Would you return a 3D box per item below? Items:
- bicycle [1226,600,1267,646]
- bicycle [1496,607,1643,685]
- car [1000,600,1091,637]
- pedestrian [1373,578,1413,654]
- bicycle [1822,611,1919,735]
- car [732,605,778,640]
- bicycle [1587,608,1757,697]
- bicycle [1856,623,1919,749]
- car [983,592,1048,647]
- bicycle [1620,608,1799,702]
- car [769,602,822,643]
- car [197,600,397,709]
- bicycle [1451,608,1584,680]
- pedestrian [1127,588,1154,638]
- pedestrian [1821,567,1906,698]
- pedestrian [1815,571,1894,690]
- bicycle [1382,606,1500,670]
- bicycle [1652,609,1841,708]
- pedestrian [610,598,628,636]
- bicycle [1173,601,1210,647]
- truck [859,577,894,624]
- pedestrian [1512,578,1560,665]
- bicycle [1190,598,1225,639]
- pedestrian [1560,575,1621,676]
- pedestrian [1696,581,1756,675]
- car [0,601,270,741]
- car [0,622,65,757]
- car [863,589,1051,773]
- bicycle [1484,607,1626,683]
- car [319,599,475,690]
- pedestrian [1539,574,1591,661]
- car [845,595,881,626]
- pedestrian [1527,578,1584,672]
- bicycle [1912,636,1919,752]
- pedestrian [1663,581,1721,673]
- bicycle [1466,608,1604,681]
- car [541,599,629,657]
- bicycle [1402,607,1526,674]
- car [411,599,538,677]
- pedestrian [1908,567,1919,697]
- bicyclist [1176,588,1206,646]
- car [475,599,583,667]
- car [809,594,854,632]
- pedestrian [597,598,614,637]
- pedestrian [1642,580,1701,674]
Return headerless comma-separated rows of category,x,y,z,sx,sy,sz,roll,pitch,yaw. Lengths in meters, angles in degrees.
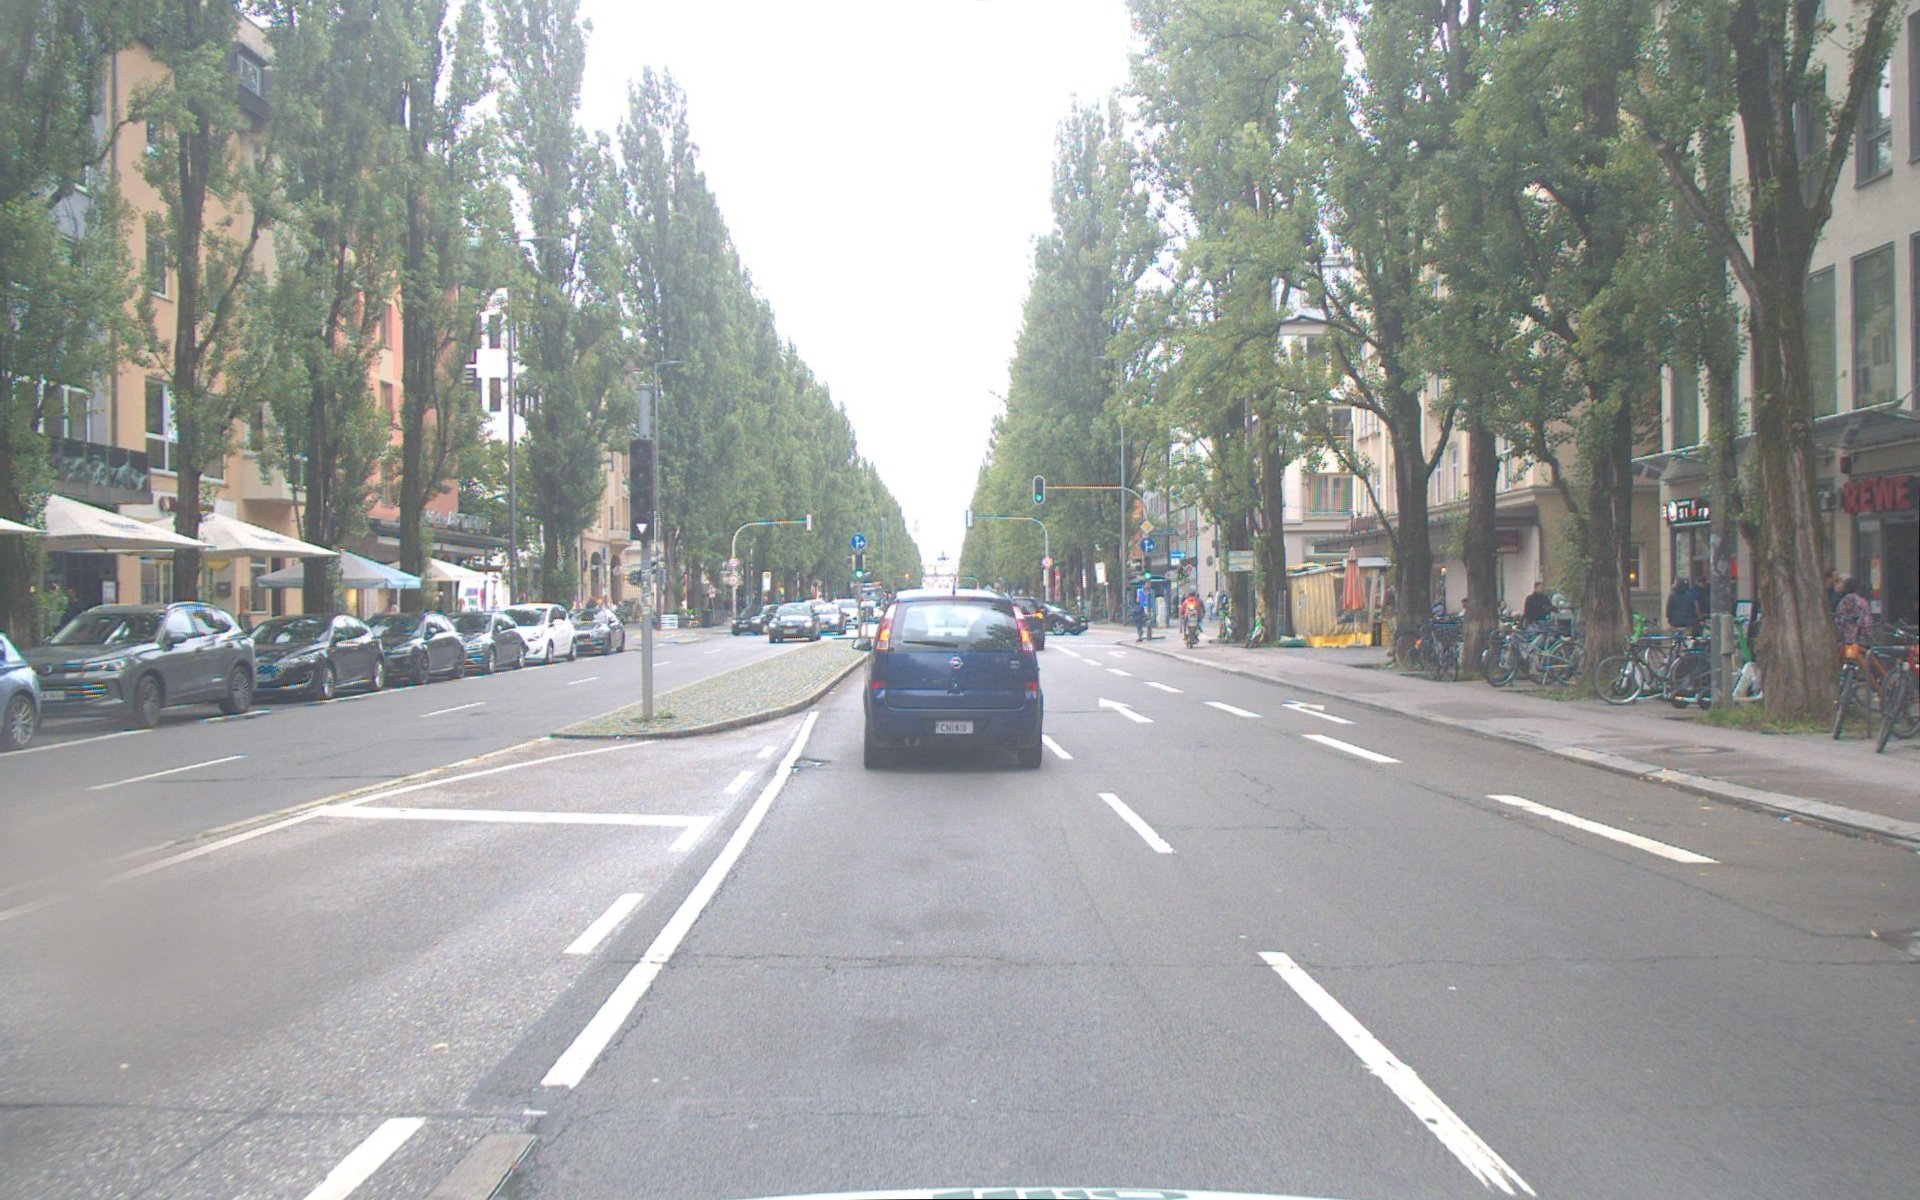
bicycle,8.717,0.677,50.375,0.757,1.372,2.449,-1,0,-1
bicycle,10.065,0.759,27.350,2.182,1.225,0.626,-1,0,-3
car,3.865,0.824,74.400,3.902,1.650,1.904,0,0,11
pedestrian,10.695,0.387,40.910,0.625,1.859,0.885,1,-1,-10
bicycle,10.141,0.731,17.060,2.182,1.225,0.626,-1,0,-3
car,-10.284,1.120,83.275,1.828,1.695,4.119,-1,0,-1
bicycle,10.266,0.749,23.866,2.182,1.225,0.626,-1,0,-3
bicycle,9.692,0.794,15.775,1.955,1.153,0.626,-1,0,-3
car,1.712,0.587,52.195,1.858,1.650,3.999,0,0,-1
bicycle,10.313,0.750,22.783,2.182,1.225,0.626,-1,0,-3
car,-6.248,0.842,62.920,1.699,1.491,3.365,-1,0,-1
car,-11.501,0.886,29.018,1.828,1.695,4.119,-2,0,-1
bicycle,10.019,0.779,29.752,2.182,1.225,0.626,-1,0,-3
pedestrian,6.661,0.478,61.062,0.865,1.797,0.769,-1,0,-3
pedestrian,12.173,0.434,22.305,0.660,1.715,0.758,-1,-1,-5
pedestrian,14.270,0.480,26.392,0.706,1.859,0.885,1,-1,-11
bicycle,9.658,0.763,33.242,2.182,1.225,0.626,-1,0,-3
bicycle,10.284,0.750,21.671,2.182,1.225,0.626,-1,0,-3
pedestrian,-16.433,0.802,79.716,0.755,1.797,0.881,-1,0,-16
bicycle,7.186,0.739,51.387,0.757,1.372,2.449,-1,0,-1
truck,-6.318,0.047,125.984,2.334,3.405,7.109,-1,0,-1
pedestrian,12.474,0.468,35.826,0.625,1.859,0.885,1,-1,-10
bicycle,8.345,0.612,55.844,0.757,1.372,2.449,-1,0,-1
pedestrian,11.846,0.481,31.099,0.706,1.859,0.885,1,-1,-11
pedestrian,15.370,0.558,33.183,0.706,1.859,0.885,1,-1,-11
car,-11.440,0.900,23.005,1.828,1.695,4.400,-2,0,-1
car,-11.354,1.023,17.327,1.698,1.450,4.142,-2,0,-1
car,-0.037,0.706,16.429,1.637,1.596,3.999,0,0,0
bicycle,10.116,0.764,28.159,2.182,1.225,0.626,-1,0,-3
car,-11.617,0.870,34.421,1.828,1.695,4.119,-2,0,-1
pedestrian,13.173,0.379,36.021,0.706,1.859,0.885,1,-1,-11
car,-5.426,0.565,93.216,1.828,1.695,4.119,-1,0,-1
pedestrian,11.934,0.500,33.148,0.706,1.859,0.885,1,-1,-11
bicycle,9.705,0.838,14.865,1.955,1.051,0.626,-1,0,-3
pedestrian,15.057,0.560,34.029,0.706,1.859,0.885,1,-1,-11
bicycle,10.058,0.772,28.957,2.182,1.225,0.626,-1,0,-3
car,-11.791,0.851,52.201,1.828,1.695,4.119,-2,0,-1
bicycle,9.699,0.782,31.864,2.182,1.225,0.626,-1,0,-3
car,-11.578,0.866,39.734,1.828,1.695,4.119,-2,0,-1
pedestrian,13.004,0.413,21.697,0.740,1.715,0.675,-2,-1,8
bicyclist,7.181,0.518,51.418,0.752,1.797,0.885,-1,0,-1
car,-11.673,0.863,45.061,1.828,1.695,4.119,-2,0,-1
car,-5.934,0.606,76.767,1.828,1.695,4.119,-1,0,-1
pedestrian,-16.413,0.812,76.555,0.754,1.797,0.882,-1,0,-13
pedestrian,14.307,0.541,33.256,0.706,1.859,0.885,1,-1,-11
